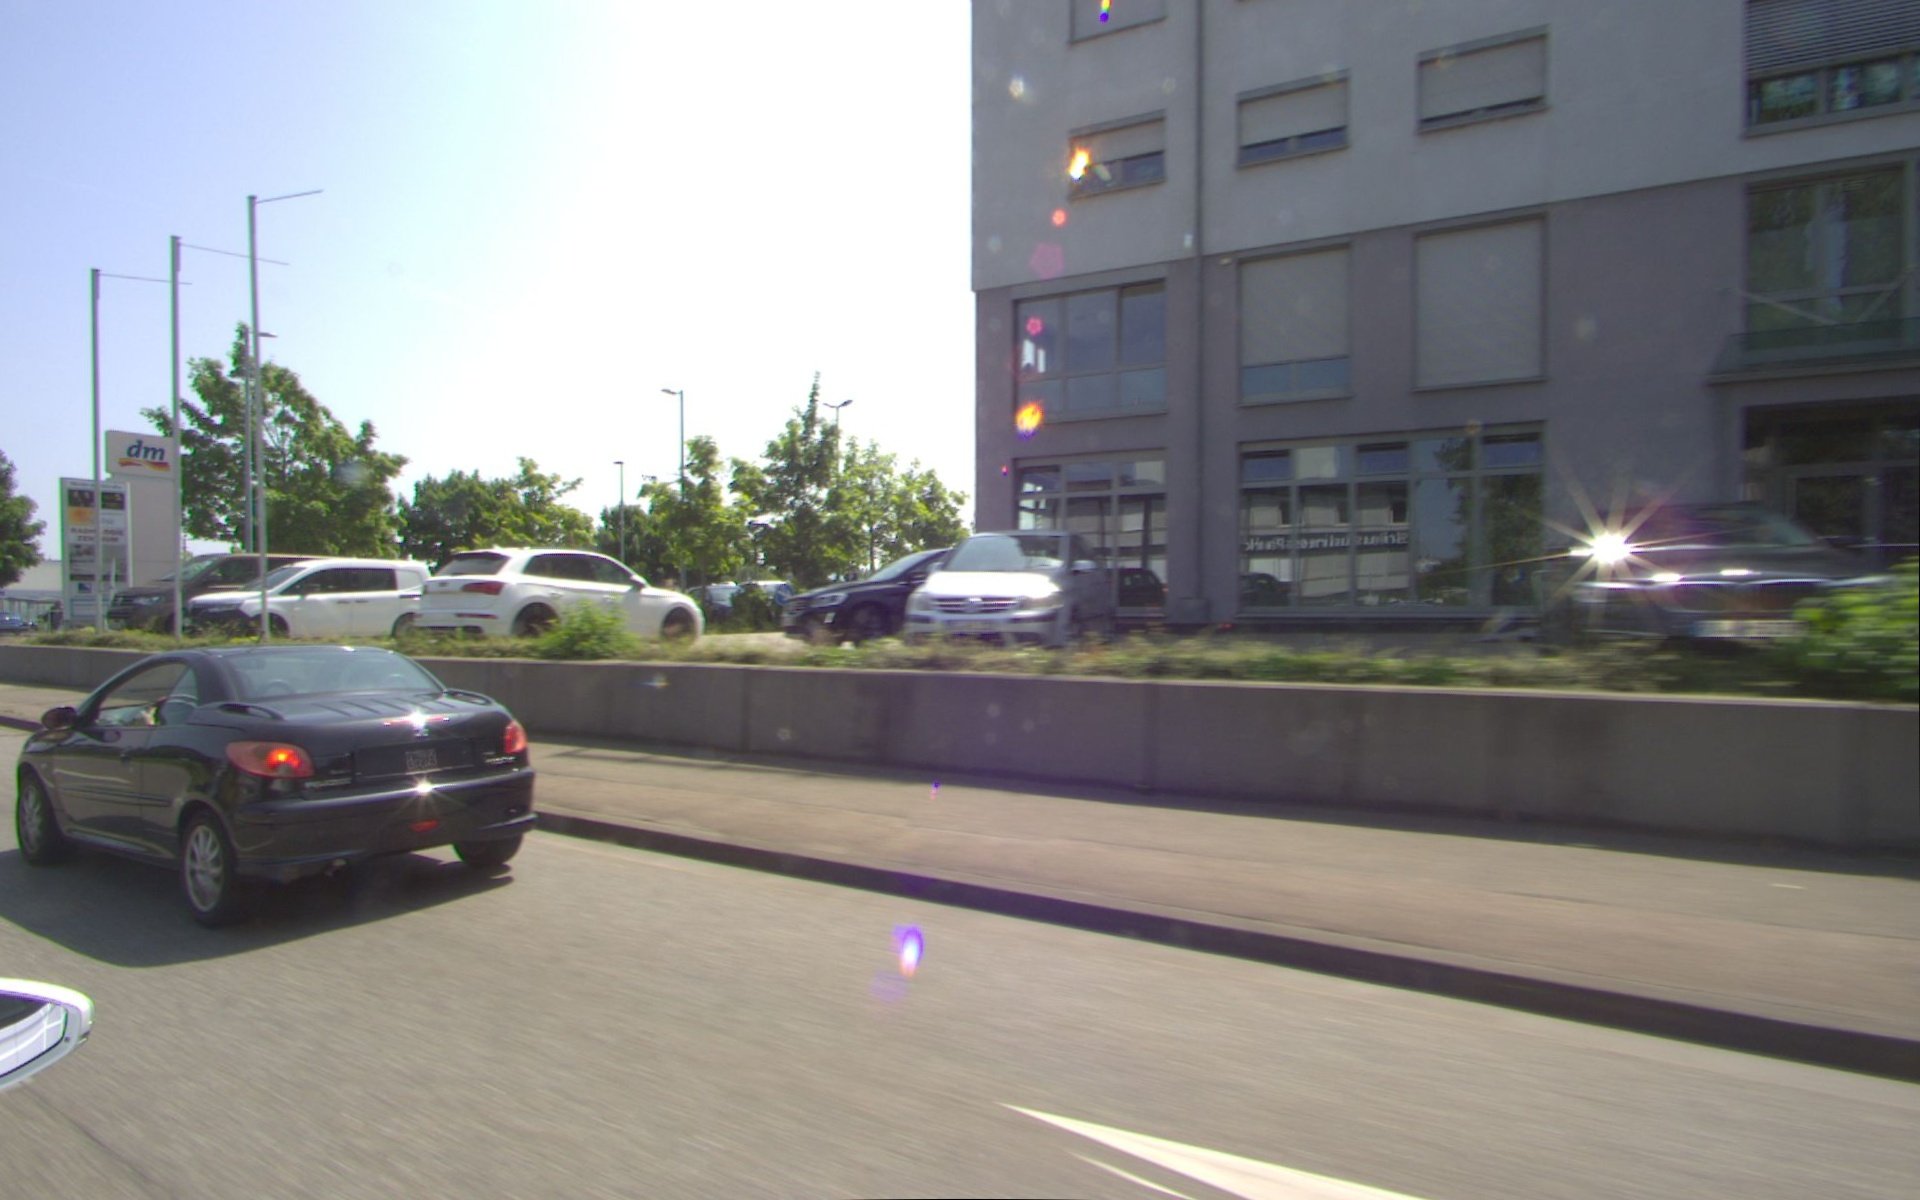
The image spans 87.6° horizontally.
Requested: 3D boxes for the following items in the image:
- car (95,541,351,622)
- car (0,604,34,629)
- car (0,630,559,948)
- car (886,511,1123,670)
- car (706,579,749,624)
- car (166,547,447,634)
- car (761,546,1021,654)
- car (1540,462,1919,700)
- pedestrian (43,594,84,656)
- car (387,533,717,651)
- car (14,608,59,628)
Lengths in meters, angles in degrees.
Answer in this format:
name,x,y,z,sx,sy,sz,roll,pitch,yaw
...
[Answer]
name,x,y,z,sx,sy,sz,roll,pitch,yaw
car,-15.683,-0.362,21.526,1.970,1.565,3.981,0,0,29
car,-59.320,1.025,61.600,3.105,1.483,1.508,0,0,-8
car,-4.339,0.927,6.246,3.553,1.381,1.625,0,-2,32
car,0.703,-0.086,11.405,1.733,1.471,3.927,-1,0,18
car,-10.020,0.083,43.040,1.697,1.869,3.490,0,0,-15
car,-13.006,-0.173,20.230,1.970,1.565,4.341,0,0,29
car,-0.976,-0.009,15.663,1.746,1.471,3.897,0,0,45
car,5.895,-0.115,8.158,1.970,1.387,4.314,0,0,30
pedestrian,-24.926,0.688,27.840,0.737,1.708,0.653,0,0,31
car,-6.167,-0.113,15.721,1.971,1.565,4.527,0,0,31
car,-62.197,1.205,67.419,3.121,1.278,1.500,-1,0,33
